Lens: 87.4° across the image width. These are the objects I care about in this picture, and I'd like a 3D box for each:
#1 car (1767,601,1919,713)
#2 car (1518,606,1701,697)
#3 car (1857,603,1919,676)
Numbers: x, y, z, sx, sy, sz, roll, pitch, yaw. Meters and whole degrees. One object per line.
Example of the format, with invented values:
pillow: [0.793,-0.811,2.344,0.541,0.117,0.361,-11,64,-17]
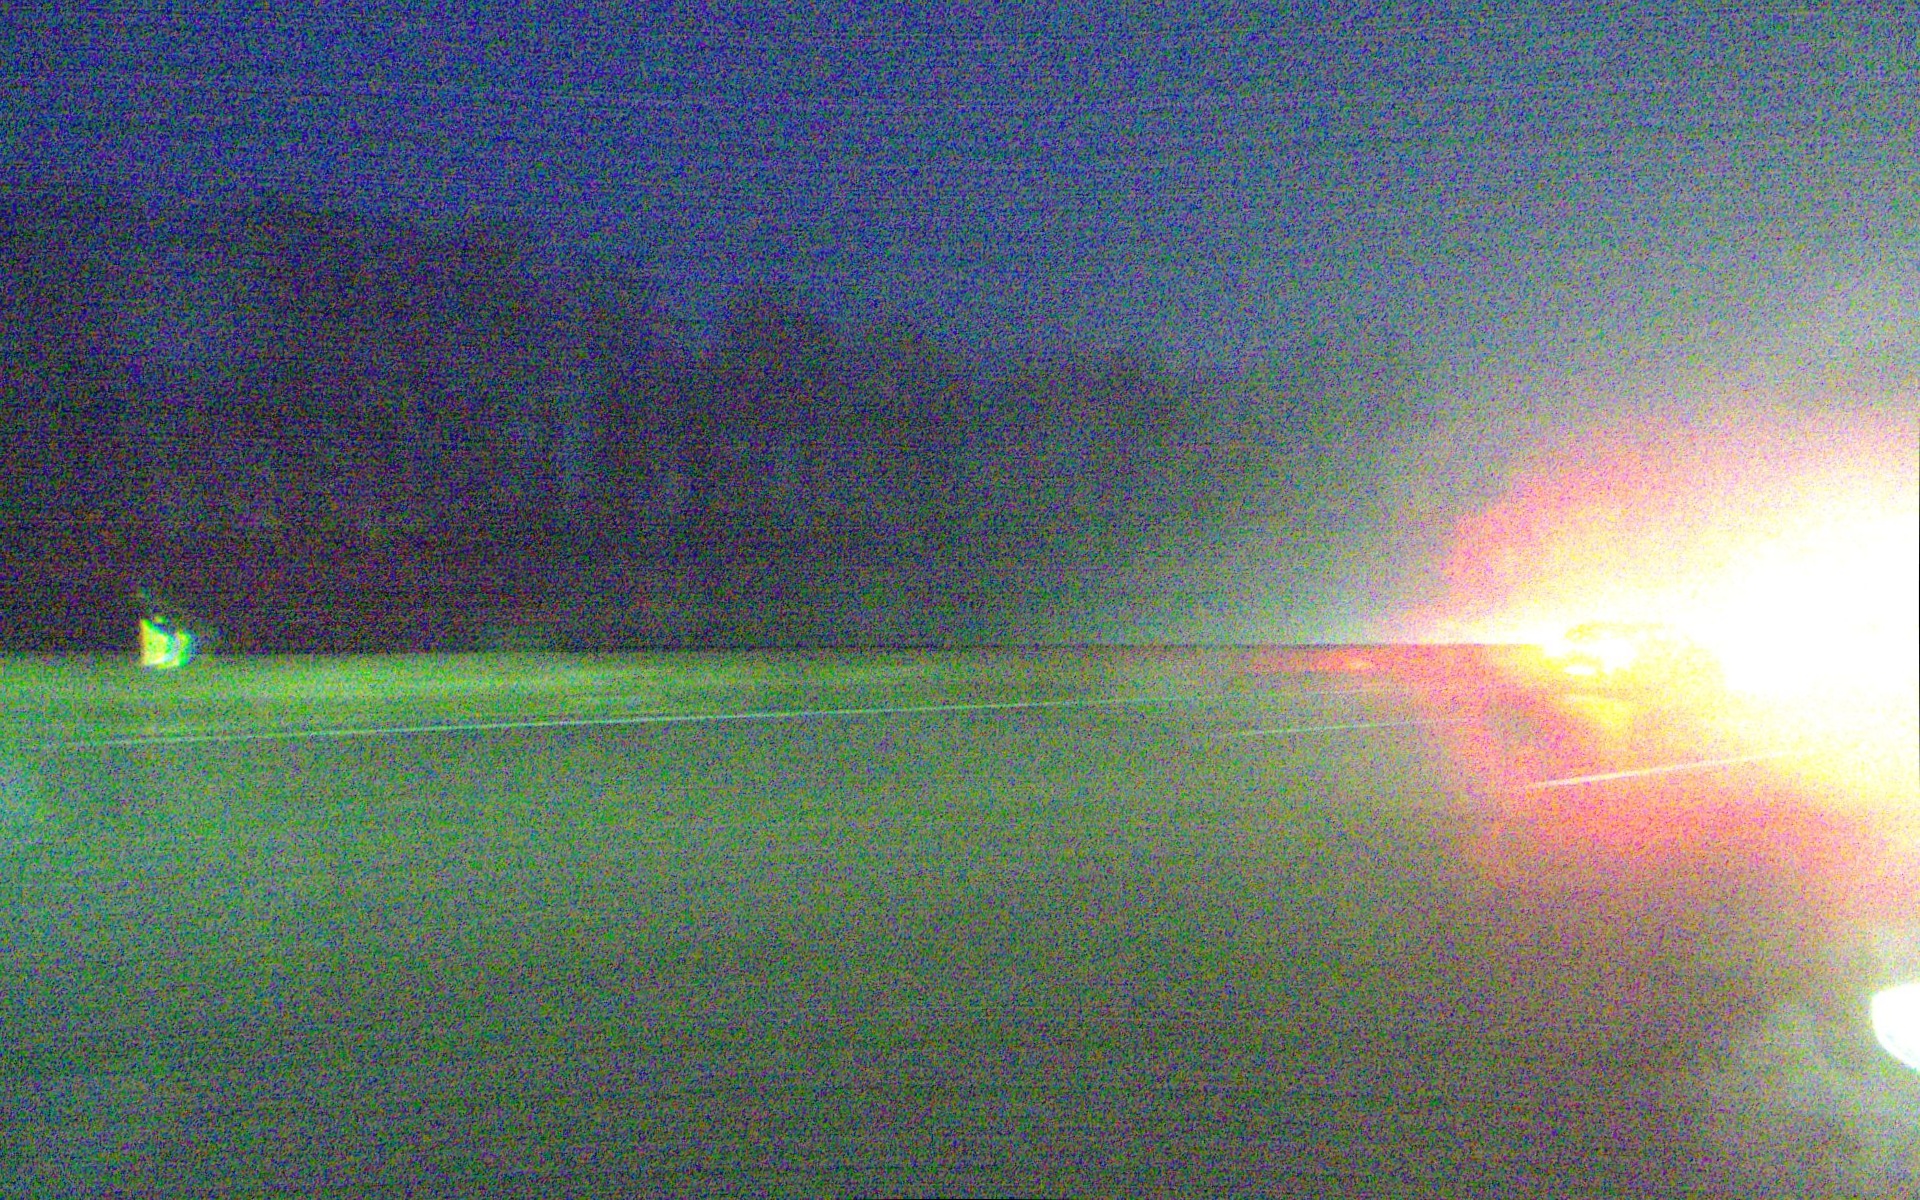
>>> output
car: [16.811,0.971,18.372,4.471,1.785,2.025,1,0,-35]
car: [13.457,0.989,20.760,3.958,1.712,1.755,0,0,-34]
car: [30.537,1.215,31.644,5.571,2.132,2.110,1,0,-34]
